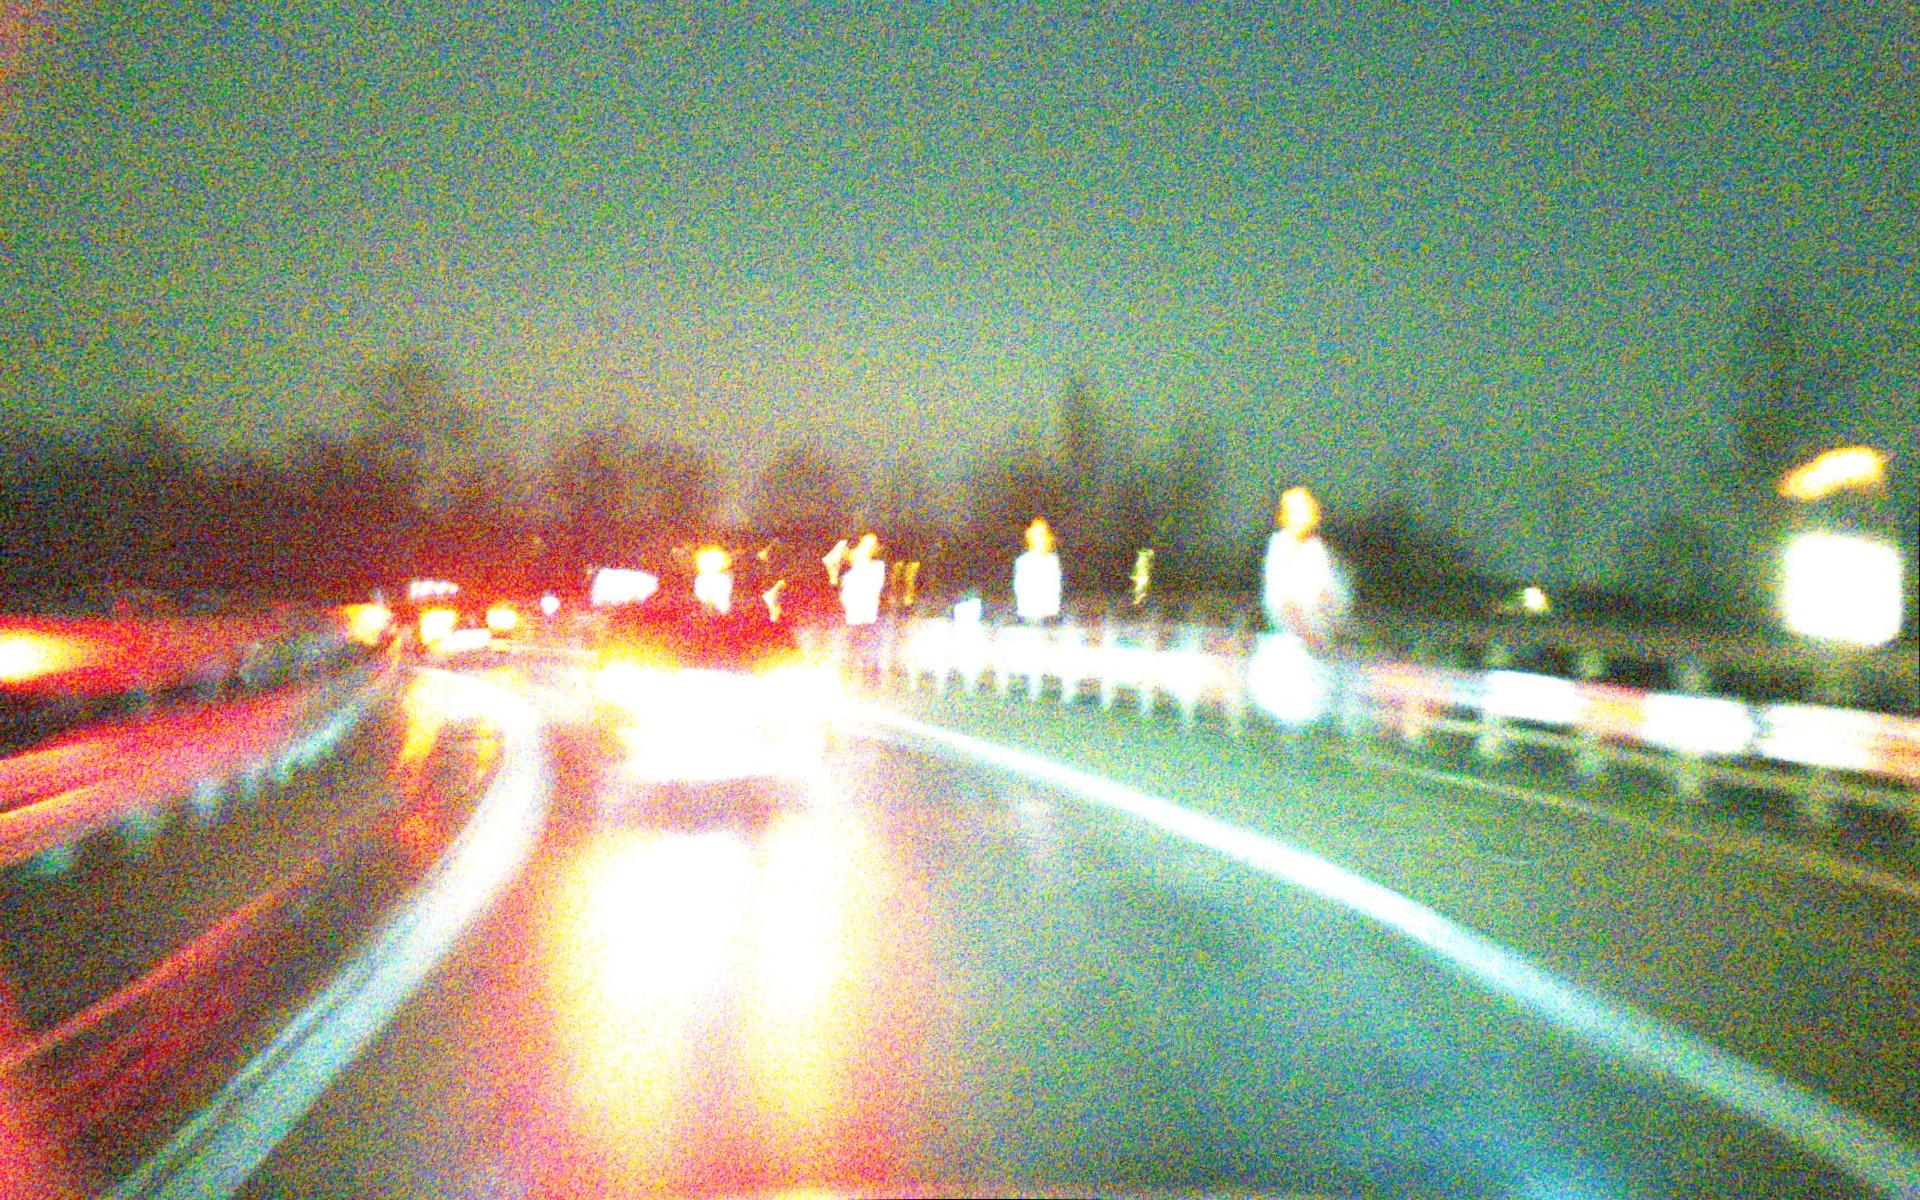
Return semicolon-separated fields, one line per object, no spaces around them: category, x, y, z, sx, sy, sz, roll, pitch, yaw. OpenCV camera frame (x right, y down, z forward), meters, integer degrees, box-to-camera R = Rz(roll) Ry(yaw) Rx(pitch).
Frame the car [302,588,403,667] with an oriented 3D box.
car;-16.737;0.721;45.473;1.876;2.076;4.002;1;0;-31

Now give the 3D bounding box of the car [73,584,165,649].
car;-28.192;0.540;55.414;1.883;2.033;3.987;2;0;-40

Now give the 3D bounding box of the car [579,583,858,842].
car;-1.992;0.728;12.981;1.828;1.676;4.057;0;0;-12

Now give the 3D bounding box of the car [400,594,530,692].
car;-9.914;0.808;32.943;1.872;1.750;4.013;1;0;-26
